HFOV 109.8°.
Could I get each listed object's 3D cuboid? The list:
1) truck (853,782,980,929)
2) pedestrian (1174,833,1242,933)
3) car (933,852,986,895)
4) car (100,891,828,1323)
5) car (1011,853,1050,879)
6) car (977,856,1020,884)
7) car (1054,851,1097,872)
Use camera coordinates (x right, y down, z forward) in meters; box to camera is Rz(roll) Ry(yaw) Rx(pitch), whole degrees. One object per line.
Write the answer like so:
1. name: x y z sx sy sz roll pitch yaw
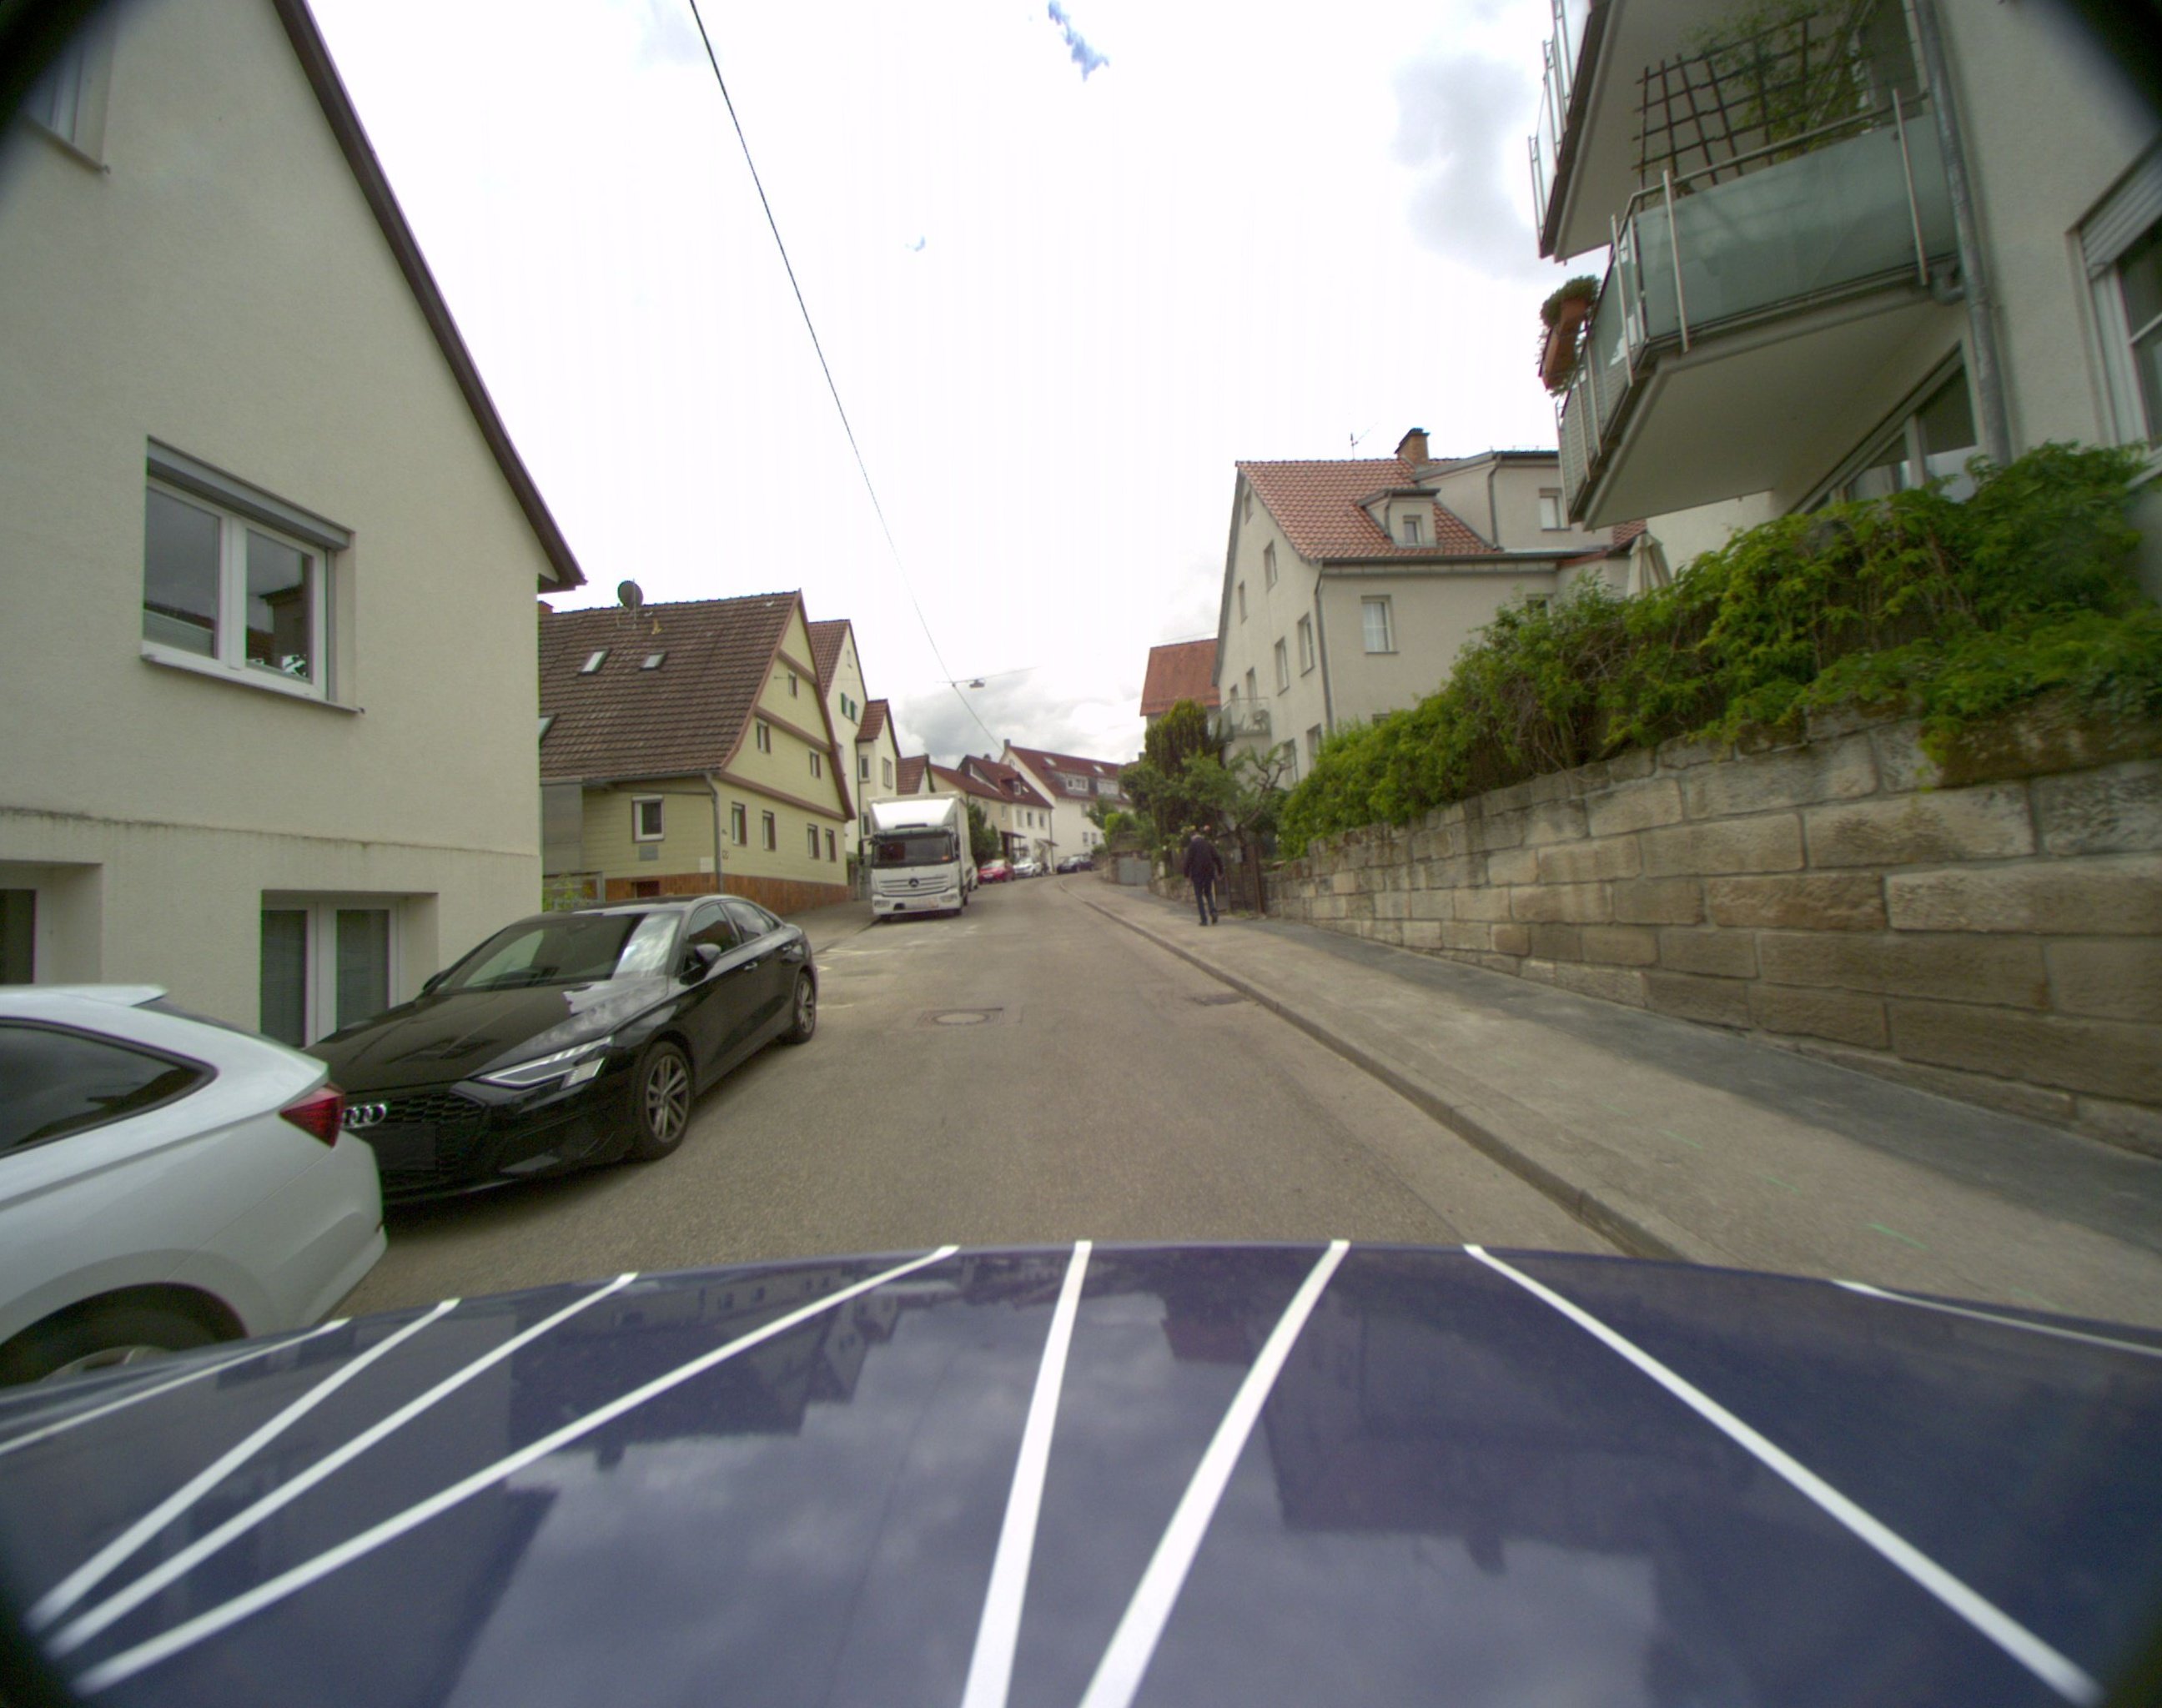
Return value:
1. truck: -4.792 0.005 23.754 2.684 3.577 8.100 -5 1 -6
2. pedestrian: 2.275 0.503 13.740 0.842 1.668 0.976 -6 1 -5
3. car: -5.903 0.889 37.368 1.840 1.804 4.303 -5 0 -1
4. car: -3.215 1.145 5.190 1.678 1.400 4.050 -6 1 -3
5. car: -3.555 0.831 53.964 1.614 1.523 2.900 -7 -1 17
6. car: -5.039 0.933 46.839 1.682 1.443 3.853 -5 0 7
7. car: -0.391 0.588 61.392 1.720 1.398 4.009 -7 -2 26
